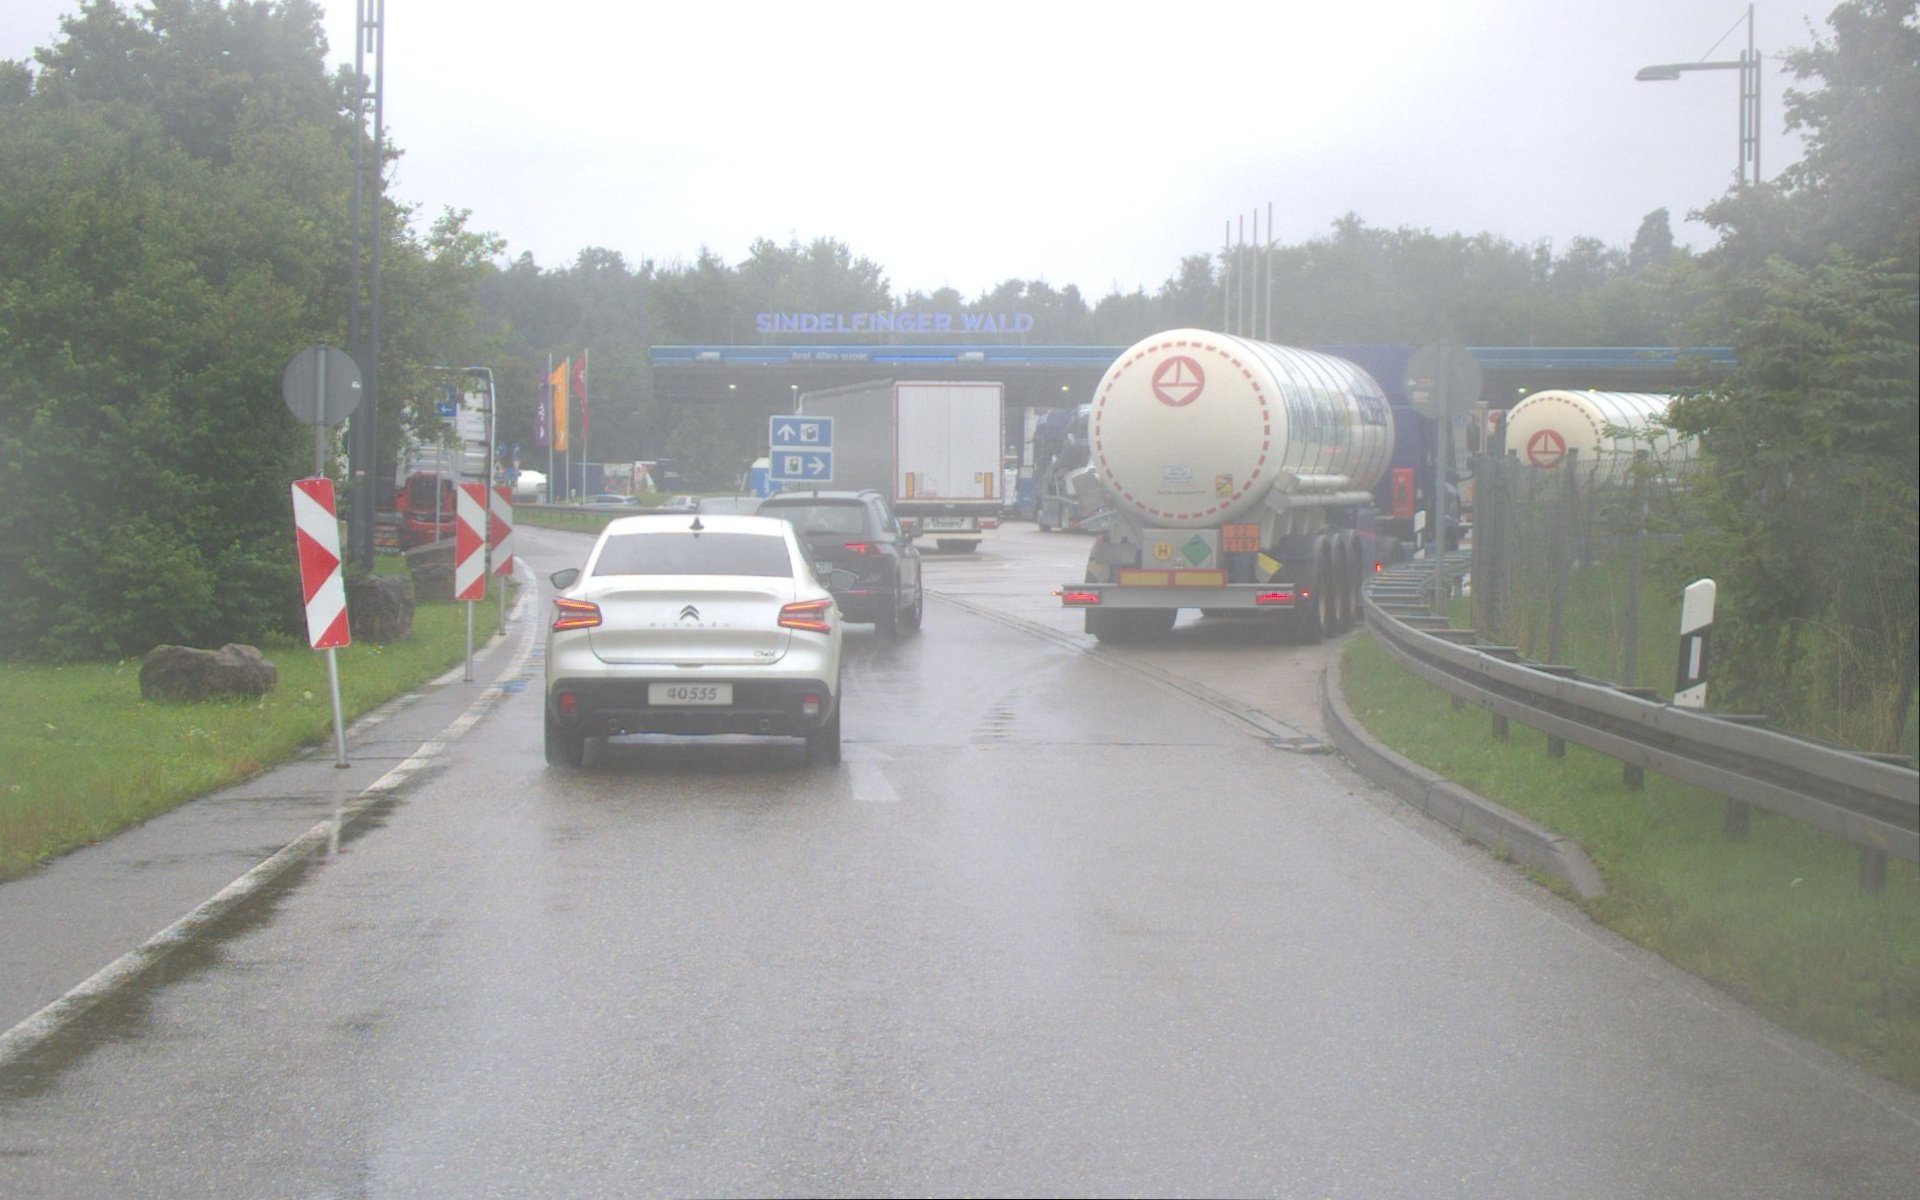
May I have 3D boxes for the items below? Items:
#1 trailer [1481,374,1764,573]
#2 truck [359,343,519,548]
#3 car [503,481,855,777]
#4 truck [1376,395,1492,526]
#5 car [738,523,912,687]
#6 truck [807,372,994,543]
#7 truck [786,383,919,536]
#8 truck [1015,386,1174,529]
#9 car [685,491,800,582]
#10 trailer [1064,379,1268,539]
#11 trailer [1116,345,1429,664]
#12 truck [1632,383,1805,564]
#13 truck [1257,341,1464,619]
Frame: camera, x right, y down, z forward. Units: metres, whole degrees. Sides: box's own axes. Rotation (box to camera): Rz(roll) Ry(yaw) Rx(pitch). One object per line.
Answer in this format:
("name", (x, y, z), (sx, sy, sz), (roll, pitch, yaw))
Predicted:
("trailer", (12.523, -2.345, 64.105), (2.134, 3.428, 10.237), (1, 2, 29))
("truck", (-10.526, -3.074, 68.948), (2.914, 3.891, 6.319), (0, 2, -11))
("car", (-1.657, 0.142, 21.479), (1.993, 1.673, 4.000), (0, 1, -2))
("truck", (13.939, -4.135, 101.340), (2.425, 3.792, 4.001), (0, 3, -7))
("car", (-1.466, 0.047, 38.724), (1.742, 1.661, 4.000), (3, 0, 0))
("truck", (-1.605, -3.490, 83.982), (2.370, 3.860, 12.459), (0, 2, -11))
("truck", (-2.889, -3.704, 90.341), (2.370, 3.860, 7.014), (0, 2, -11))
("truck", (4.096, -4.446, 107.011), (3.233, 4.174, 8.447), (1, 2, -9))
("car", (-3.760, -1.115, 59.043), (1.878, 1.456, 4.001), (1, 2, -4))
("trailer", (5.660, -3.991, 97.138), (3.215, 4.174, 11.533), (1, 2, -9))
("trailer", (3.842, -1.136, 39.903), (1.981, 3.213, 10.315), (1, 2, 14))
("truck", (15.297, -2.542, 69.181), (2.149, 3.500, 4.639), (1, 2, 29))
("truck", (5.450, -1.616, 46.284), (2.054, 3.519, 4.743), (1, 2, 15))
